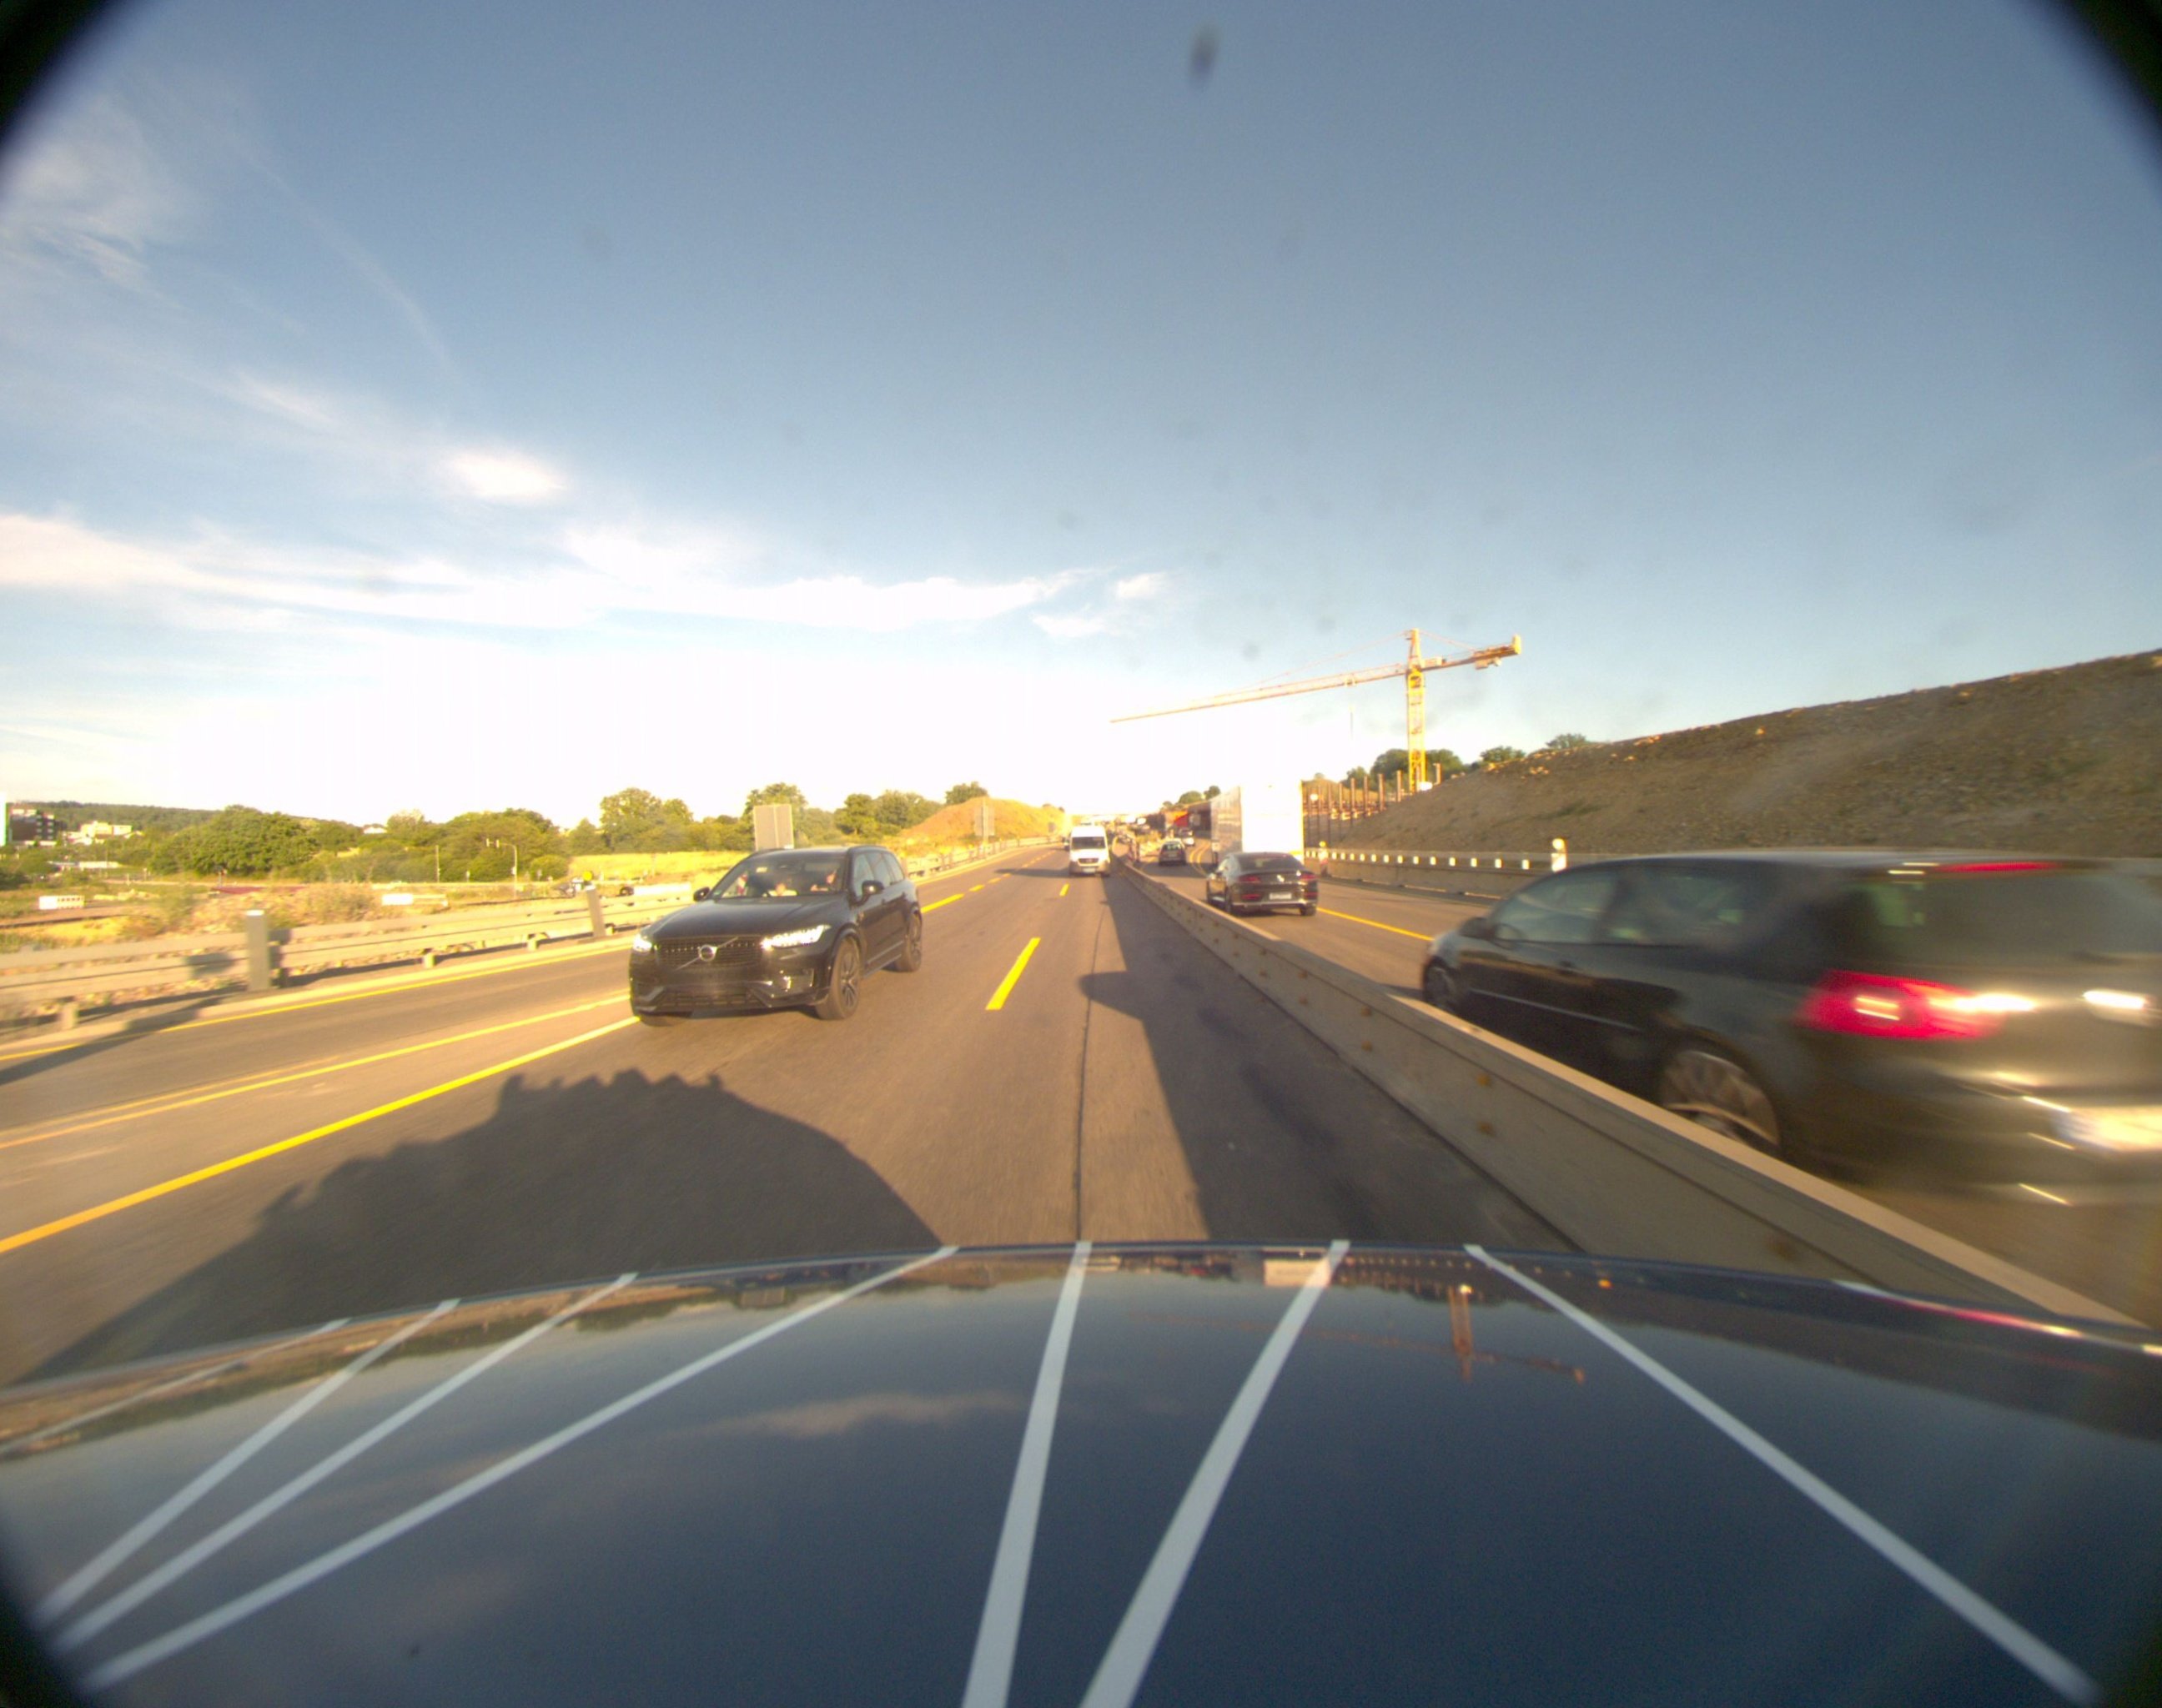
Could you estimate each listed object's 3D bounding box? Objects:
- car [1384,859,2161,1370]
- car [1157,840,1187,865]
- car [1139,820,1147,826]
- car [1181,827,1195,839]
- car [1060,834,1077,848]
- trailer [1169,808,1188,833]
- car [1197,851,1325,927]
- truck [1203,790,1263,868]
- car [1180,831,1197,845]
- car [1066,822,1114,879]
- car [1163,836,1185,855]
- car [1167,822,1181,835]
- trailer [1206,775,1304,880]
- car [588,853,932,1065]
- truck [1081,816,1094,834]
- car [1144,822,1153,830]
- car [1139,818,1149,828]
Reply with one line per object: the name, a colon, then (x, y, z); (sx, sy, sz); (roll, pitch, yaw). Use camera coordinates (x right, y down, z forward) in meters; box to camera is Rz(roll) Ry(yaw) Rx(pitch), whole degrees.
car: (3.477, 0.801, 4.430); (1.720, 1.401, 4.327); (-2, 1, 1)
car: (5.924, -0.152, 49.762); (1.854, 1.475, 4.511); (-1, 1, 6)
car: (16.409, -8.107, 201.053); (1.665, 1.383, 3.998); (-6, 3, 3)
car: (15.294, -3.037, 108.648); (1.792, 1.610, 4.874); (-3, 2, 9)
car: (-1.451, -1.526, 88.082); (1.791, 1.478, 3.998); (-2, 3, 0)
trailer: (18.669, -6.433, 145.793); (2.589, 4.447, 14.133); (-3, 3, 4)
car: (3.888, 0.678, 17.196); (1.841, 1.401, 4.494); (-2, 1, 1)
truck: (8.857, -1.451, 44.817); (2.558, 4.197, 6.050); (-3, 2, 4)
car: (12.043, -1.796, 85.123); (1.792, 1.350, 4.636); (-3, 2, 8)
car: (0.467, -0.228, 37.287); (2.109, 2.518, 5.219); (-2, 1, 1)
car: (7.999, -0.748, 65.602); (1.792, 1.480, 4.220); (-1, 2, 5)
car: (15.885, -4.440, 130.001); (1.997, 2.003, 5.258); (-2, 3, 10)
trailer: (8.342, -1.278, 38.353); (2.536, 4.190, 13.934); (-3, 1, 4)
car: (-3.213, 0.891, 8.932); (1.902, 1.703, 4.887); (-2, 1, 0)
truck: (1.305, -6.249, 164.507); (2.264, 3.706, 6.570); (-5, 2, -1)
car: (16.260, -6.728, 182.709); (1.734, 1.592, 4.658); (-2, 3, 1)
car: (19.692, -9.741, 237.694); (2.334, 2.951, 6.158); (-2, 3, -1)
